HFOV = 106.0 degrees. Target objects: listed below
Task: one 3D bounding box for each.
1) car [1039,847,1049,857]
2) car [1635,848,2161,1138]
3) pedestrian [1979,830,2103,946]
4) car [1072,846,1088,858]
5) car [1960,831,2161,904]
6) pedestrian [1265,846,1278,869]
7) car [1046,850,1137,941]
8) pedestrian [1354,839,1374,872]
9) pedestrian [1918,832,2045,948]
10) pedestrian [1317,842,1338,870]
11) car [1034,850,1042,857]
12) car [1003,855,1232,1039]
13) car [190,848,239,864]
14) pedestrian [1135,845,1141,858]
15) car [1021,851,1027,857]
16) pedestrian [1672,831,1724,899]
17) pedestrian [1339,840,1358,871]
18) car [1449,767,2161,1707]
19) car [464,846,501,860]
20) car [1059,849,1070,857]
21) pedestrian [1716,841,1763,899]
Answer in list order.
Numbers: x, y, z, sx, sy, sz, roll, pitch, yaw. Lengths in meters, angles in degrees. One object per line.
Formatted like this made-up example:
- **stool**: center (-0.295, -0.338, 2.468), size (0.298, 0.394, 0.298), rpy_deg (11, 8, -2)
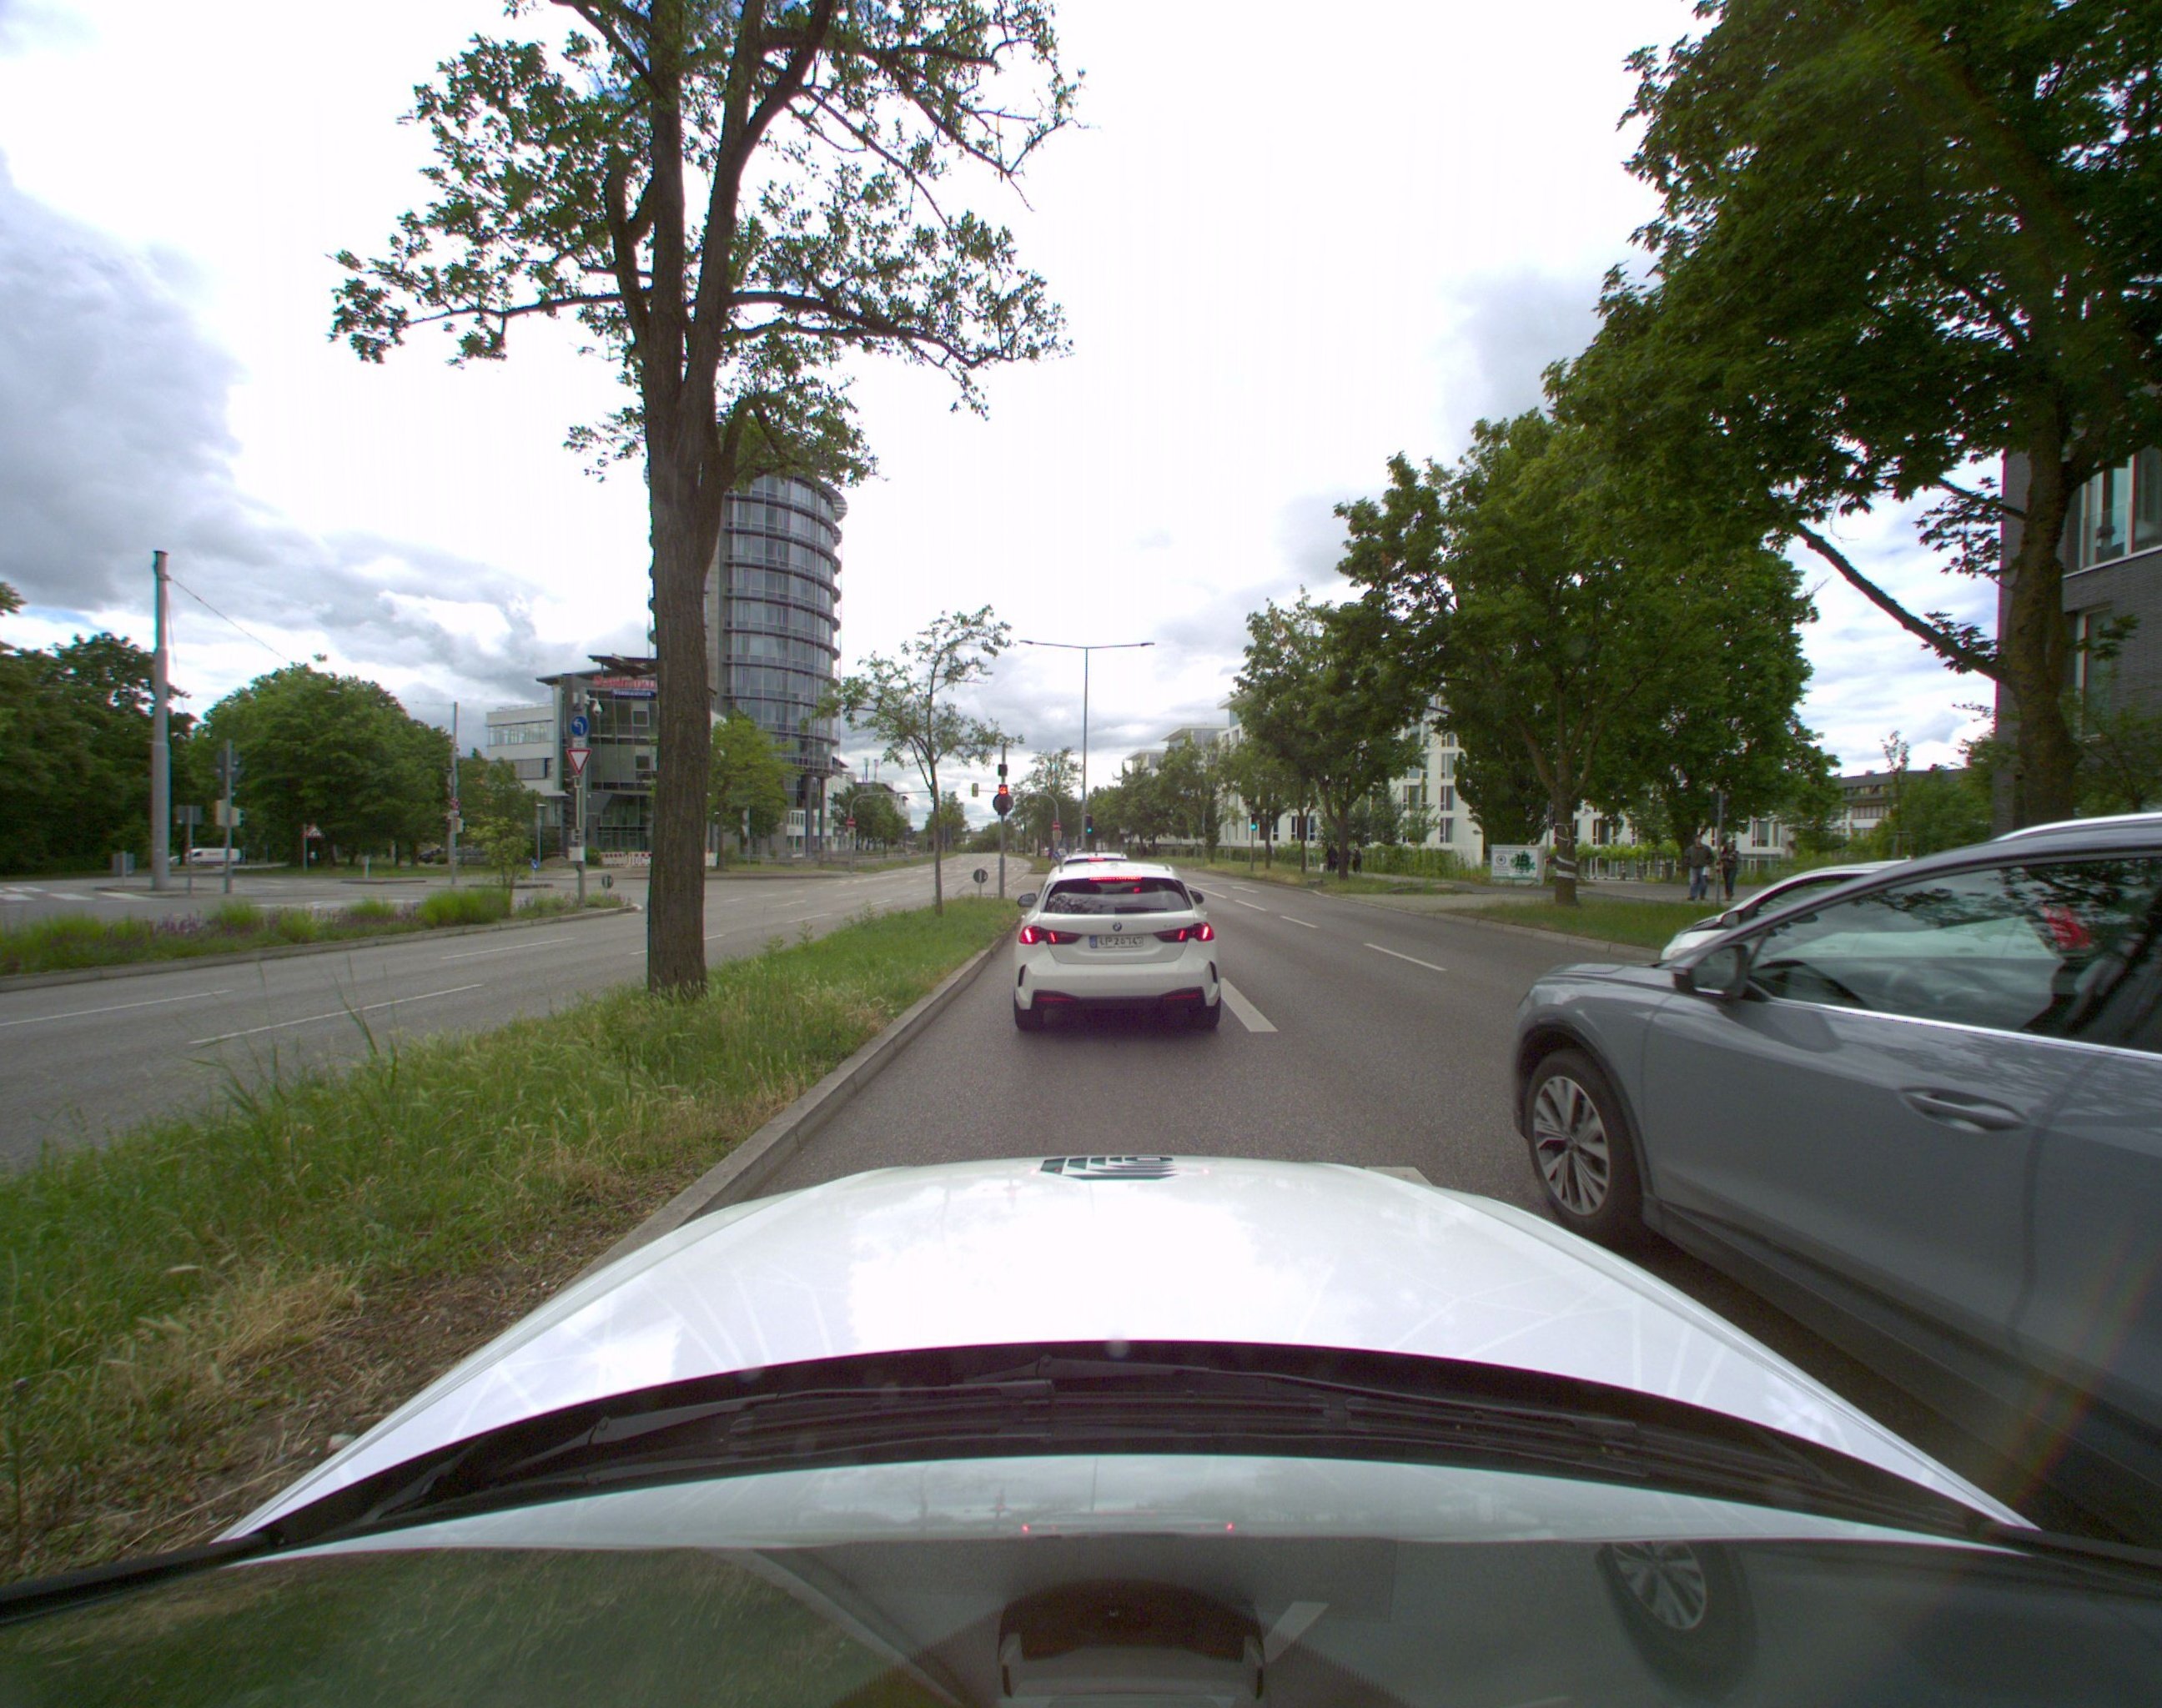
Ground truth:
- **car**: center (-6.461, -0.263, 142.329), size (1.692, 1.717, 3.993), rpy_deg (0, -1, -4)
- **car**: center (5.953, 0.687, 5.818), size (1.647, 1.425, 3.536), rpy_deg (-1, 0, 2)
- **pedestrian**: center (14.345, 0.490, 12.204), size (0.774, 1.660, 0.954), rpy_deg (0, 0, 7)
- **car**: center (-0.122, -0.262, 115.657), size (1.989, 1.670, 3.995), rpy_deg (-2, 0, -3)
- **car**: center (24.895, 0.297, 20.231), size (1.749, 1.646, 4.151), rpy_deg (0, 0, 2)
- **pedestrian**: center (13.227, 0.237, 56.630), size (0.739, 1.574, 0.674), rpy_deg (0, -1, 0)
- **car**: center (0.246, 0.712, 15.981), size (1.544, 1.569, 4.002), rpy_deg (0, 0, 2)
- **pedestrian**: center (14.823, 0.090, 42.681), size (0.764, 1.685, 0.883), rpy_deg (0, -1, 1)
- **pedestrian**: center (13.566, 0.516, 12.307), size (0.791, 1.660, 1.061), rpy_deg (0, 0, 7)
- **pedestrian**: center (13.043, 0.107, 43.052), size (0.786, 1.448, 1.112), rpy_deg (0, -1, 1)
- **car**: center (-10.235, -0.066, 193.711), size (1.734, 1.666, 3.997), rpy_deg (0, 0, -2)
- **car**: center (0.352, 0.740, 8.454), size (1.815, 1.438, 4.002), rpy_deg (0, 0, 2)
- **car**: center (-128.879, 0.255, 121.184), size (1.978, 2.339, 4.570), rpy_deg (-1, -1, 16)
- **pedestrian**: center (9.333, -0.401, 132.975), size (0.763, 2.013, 0.751), rpy_deg (0, 0, -13)
- **car**: center (-15.204, -0.047, 217.073), size (1.597, 1.666, 3.997), rpy_deg (0, 0, -2)
- **pedestrian**: center (17.348, 0.299, 22.901), size (0.983, 1.868, 0.952), rpy_deg (0, 0, -38)
- **pedestrian**: center (14.046, 0.097, 42.799), size (0.697, 1.595, 0.883), rpy_deg (0, -1, 1)
- **car**: center (2.762, 0.654, 2.015), size (1.884, 1.596, 4.315), rpy_deg (0, 0, 2)
- **car**: center (-37.363, -0.062, 50.881), size (0.766, 0.876, 1.730), rpy_deg (0, 0, 38)
- **car**: center (-3.040, -0.130, 147.161), size (1.690, 1.486, 3.685), rpy_deg (0, 0, -6)
- **pedestrian**: center (18.182, 0.427, 22.486), size (0.880, 1.557, 0.825), rpy_deg (0, 0, -38)
